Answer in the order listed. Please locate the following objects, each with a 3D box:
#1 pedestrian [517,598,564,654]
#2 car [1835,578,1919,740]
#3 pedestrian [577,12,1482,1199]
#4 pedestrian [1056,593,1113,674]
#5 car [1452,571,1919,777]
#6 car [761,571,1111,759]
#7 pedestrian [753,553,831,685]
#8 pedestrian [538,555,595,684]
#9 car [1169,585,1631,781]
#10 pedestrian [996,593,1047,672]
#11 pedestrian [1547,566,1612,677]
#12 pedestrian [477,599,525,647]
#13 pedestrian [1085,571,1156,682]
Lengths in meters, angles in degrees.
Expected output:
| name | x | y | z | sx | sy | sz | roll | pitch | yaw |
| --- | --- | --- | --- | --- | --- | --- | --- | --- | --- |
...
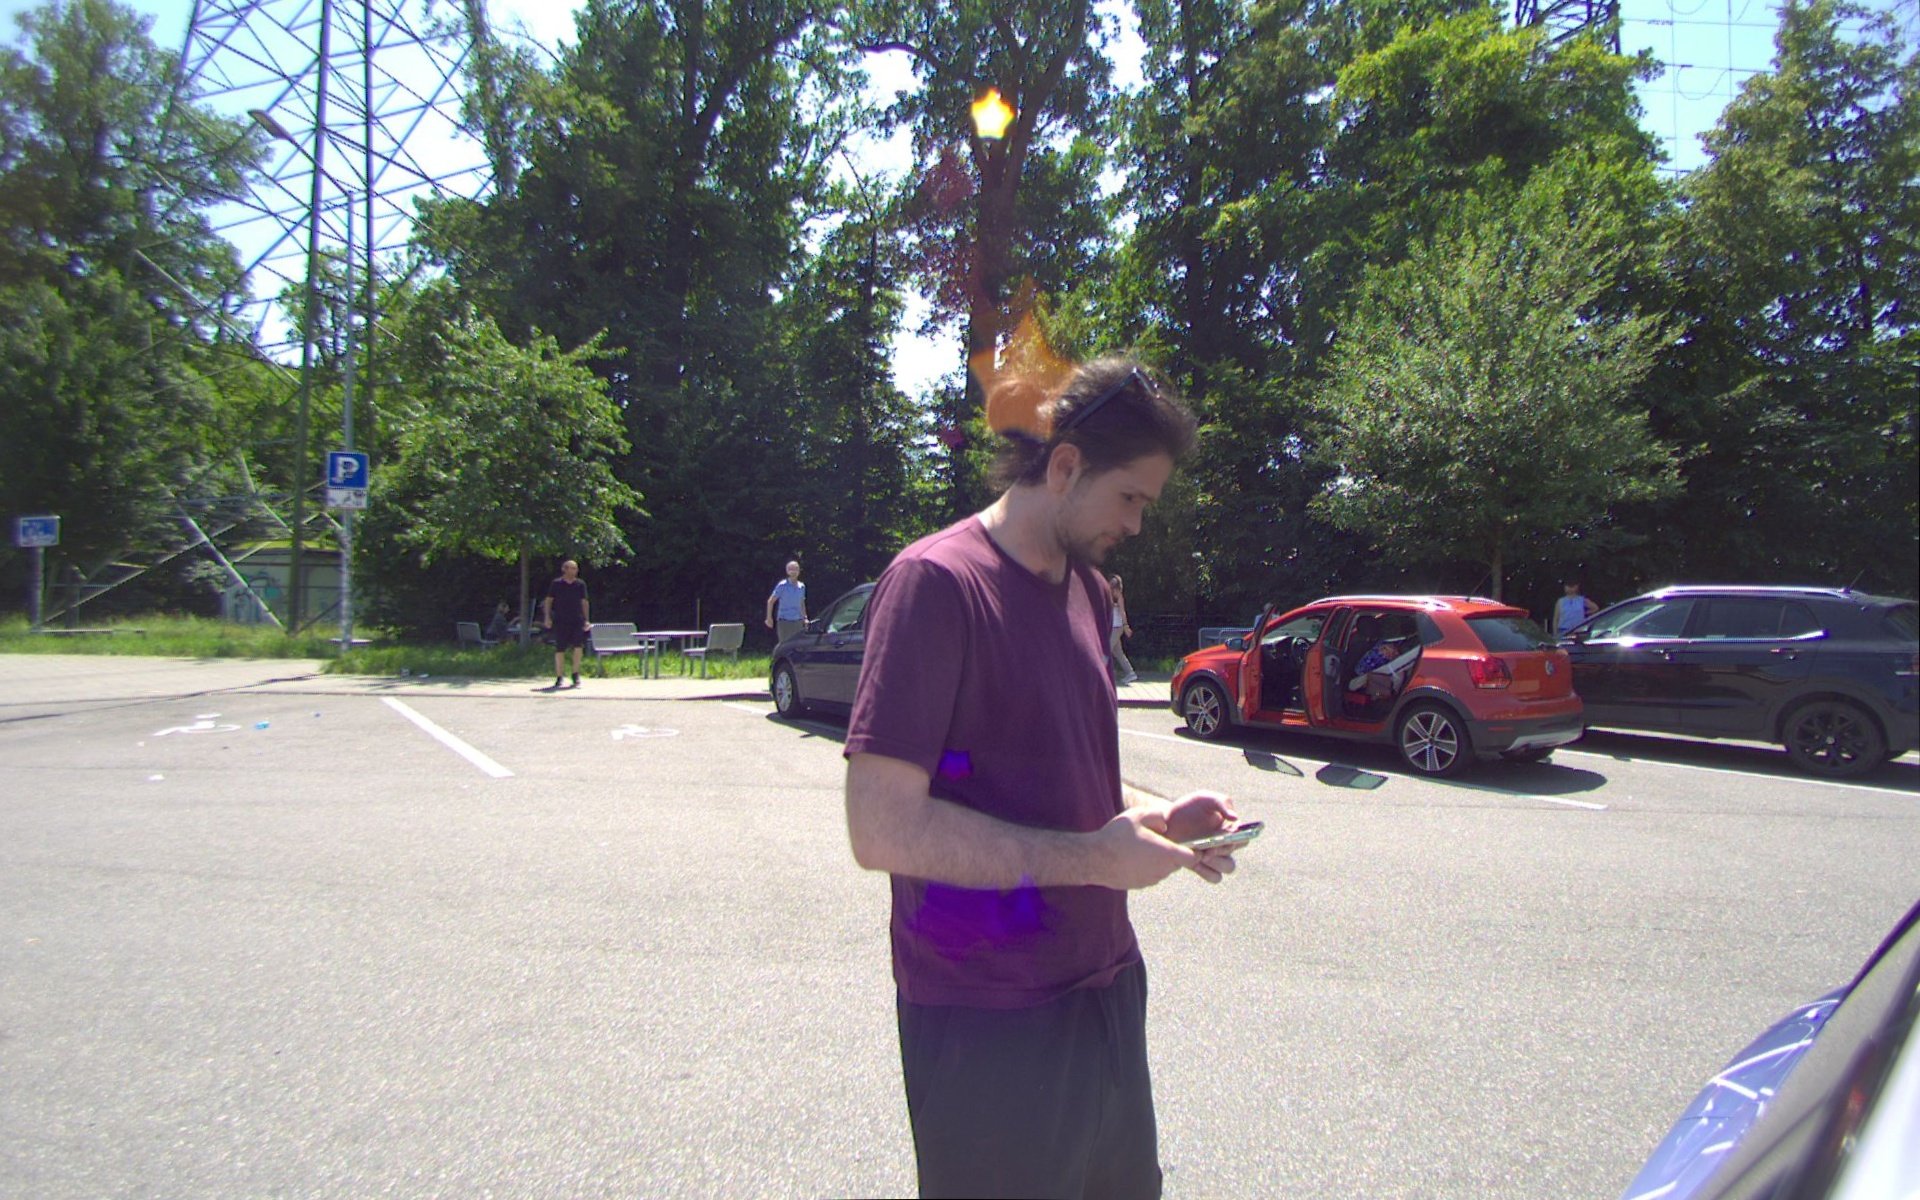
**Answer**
| name | x | y | z | sx | sy | sz | roll | pitch | yaw |
| --- | --- | --- | --- | --- | --- | --- | --- | --- | --- |
| pedestrian | -9.708 | 0.591 | 23.433 | 0.796 | 1.253 | 0.713 | 1 | -1 | -44 |
| car | 10.963 | 0.599 | 9.398 | 1.745 | 1.612 | 3.972 | 1 | 0 | -32 |
| pedestrian | 0.111 | 0.456 | 1.380 | 0.828 | 1.797 | 0.926 | 0 | -1 | 45 |
| pedestrian | 2.067 | 0.552 | 16.875 | 0.656 | 1.311 | 0.832 | 1 | -1 | -17 |
| car | 7.172 | 0.574 | 9.796 | 1.807 | 1.612 | 3.967 | 1 | 0 | -38 |
| car | -0.450 | 0.543 | 10.714 | 1.809 | 1.588 | 4.017 | 1 | 0 | -35 |
| pedestrian | -2.371 | 0.258 | 14.262 | 0.786 | 1.784 | 0.809 | 1 | -1 | -39 |
| pedestrian | -5.824 | 0.278 | 15.016 | 0.700 | 1.851 | 0.906 | 1 | -1 | -18 |
| car | 3.961 | 0.620 | 9.665 | 1.746 | 1.475 | 3.710 | 1 | 0 | -33 |
| pedestrian | 1.029 | 0.539 | 17.068 | 0.656 | 1.285 | 0.655 | 1 | -1 | -17 |
| pedestrian | 9.322 | 0.312 | 15.223 | 0.712 | 1.614 | 0.797 | 0 | -1 | 42 |
| pedestrian | -10.356 | 0.509 | 22.817 | 0.796 | 1.062 | 0.714 | 1 | -1 | -43 |
| pedestrian | 2.390 | 0.383 | 15.167 | 0.792 | 1.614 | 0.777 | 1 | -1 | -14 |
